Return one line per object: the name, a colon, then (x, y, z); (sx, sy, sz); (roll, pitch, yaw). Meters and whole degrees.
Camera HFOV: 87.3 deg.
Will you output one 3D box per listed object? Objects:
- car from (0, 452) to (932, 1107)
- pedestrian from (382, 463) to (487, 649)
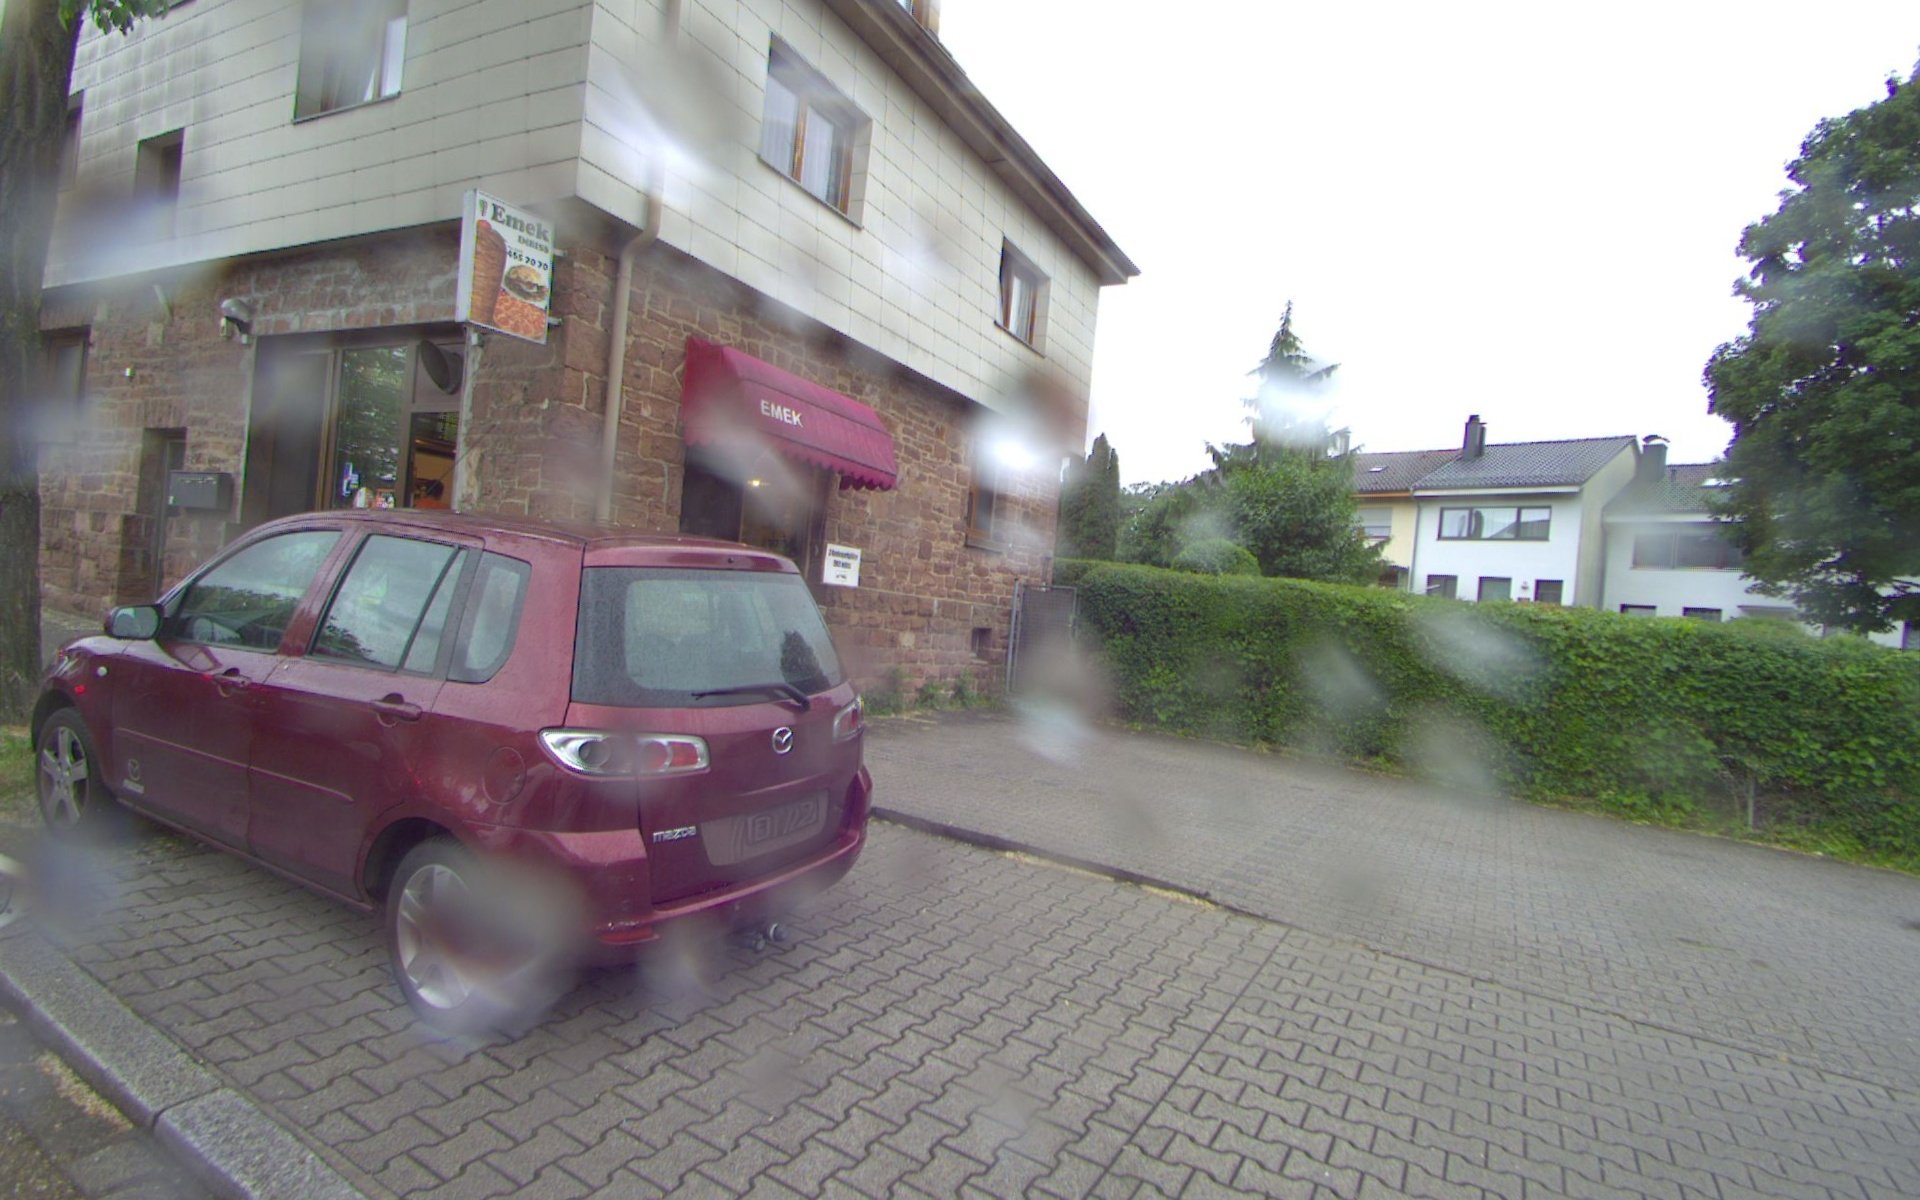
car: (-2.105, 0.350, 4.072); (3.565, 1.511, 1.585); (7, 3, 29)
pedestrian: (-5.511, -0.448, 10.571); (0.475, 1.862, 0.638); (7, 0, 31)
